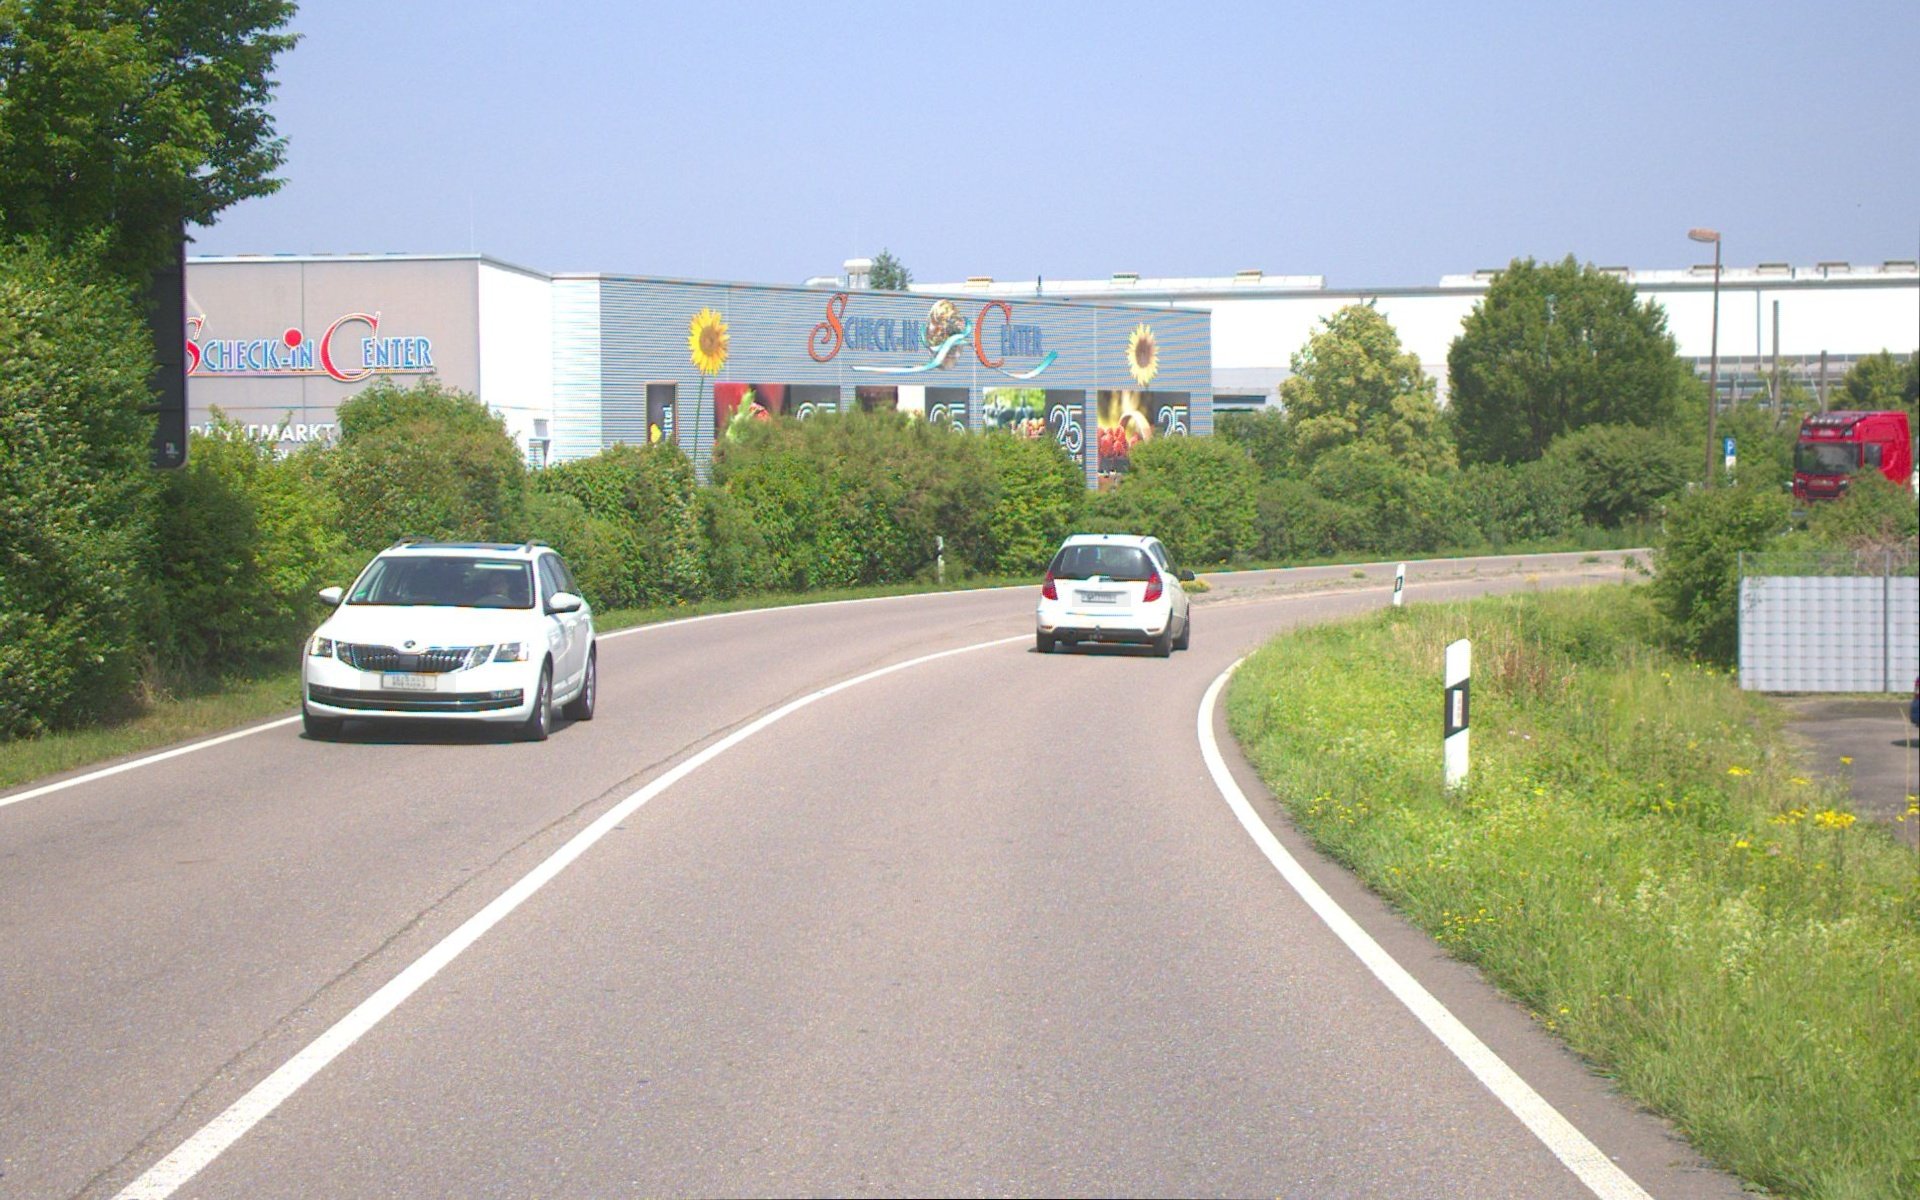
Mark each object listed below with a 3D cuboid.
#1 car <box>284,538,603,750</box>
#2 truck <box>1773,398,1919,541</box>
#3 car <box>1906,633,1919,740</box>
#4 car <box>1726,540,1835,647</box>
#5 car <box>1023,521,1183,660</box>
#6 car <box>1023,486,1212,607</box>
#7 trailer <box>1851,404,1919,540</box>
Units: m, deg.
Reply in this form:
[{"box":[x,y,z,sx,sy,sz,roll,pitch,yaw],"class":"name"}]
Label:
[{"box":[-3.897,0.277,26.621,1.828,1.465,4.410,1,1,-1],"class":"car"},{"box":[27.275,-3.812,102.212,2.889,4.016,6.703,2,1,45],"class":"truck"},{"box":[15.964,1.266,48.628,4.636,1.493,1.853,2,3,31],"class":"car"},{"box":[16.117,-0.153,67.600,1.995,2.007,3.998,1,1,13],"class":"car"},{"box":[1.883,-0.163,46.362,1.781,1.597,3.894,5,2,-1],"class":"car"},{"box":[2.788,-0.933,59.903,1.996,2.007,3.995,1,1,23],"class":"car"},{"box":[31.423,-3.829,105.561,8.668,4.016,2.888,0,1,-35],"class":"trailer"}]
